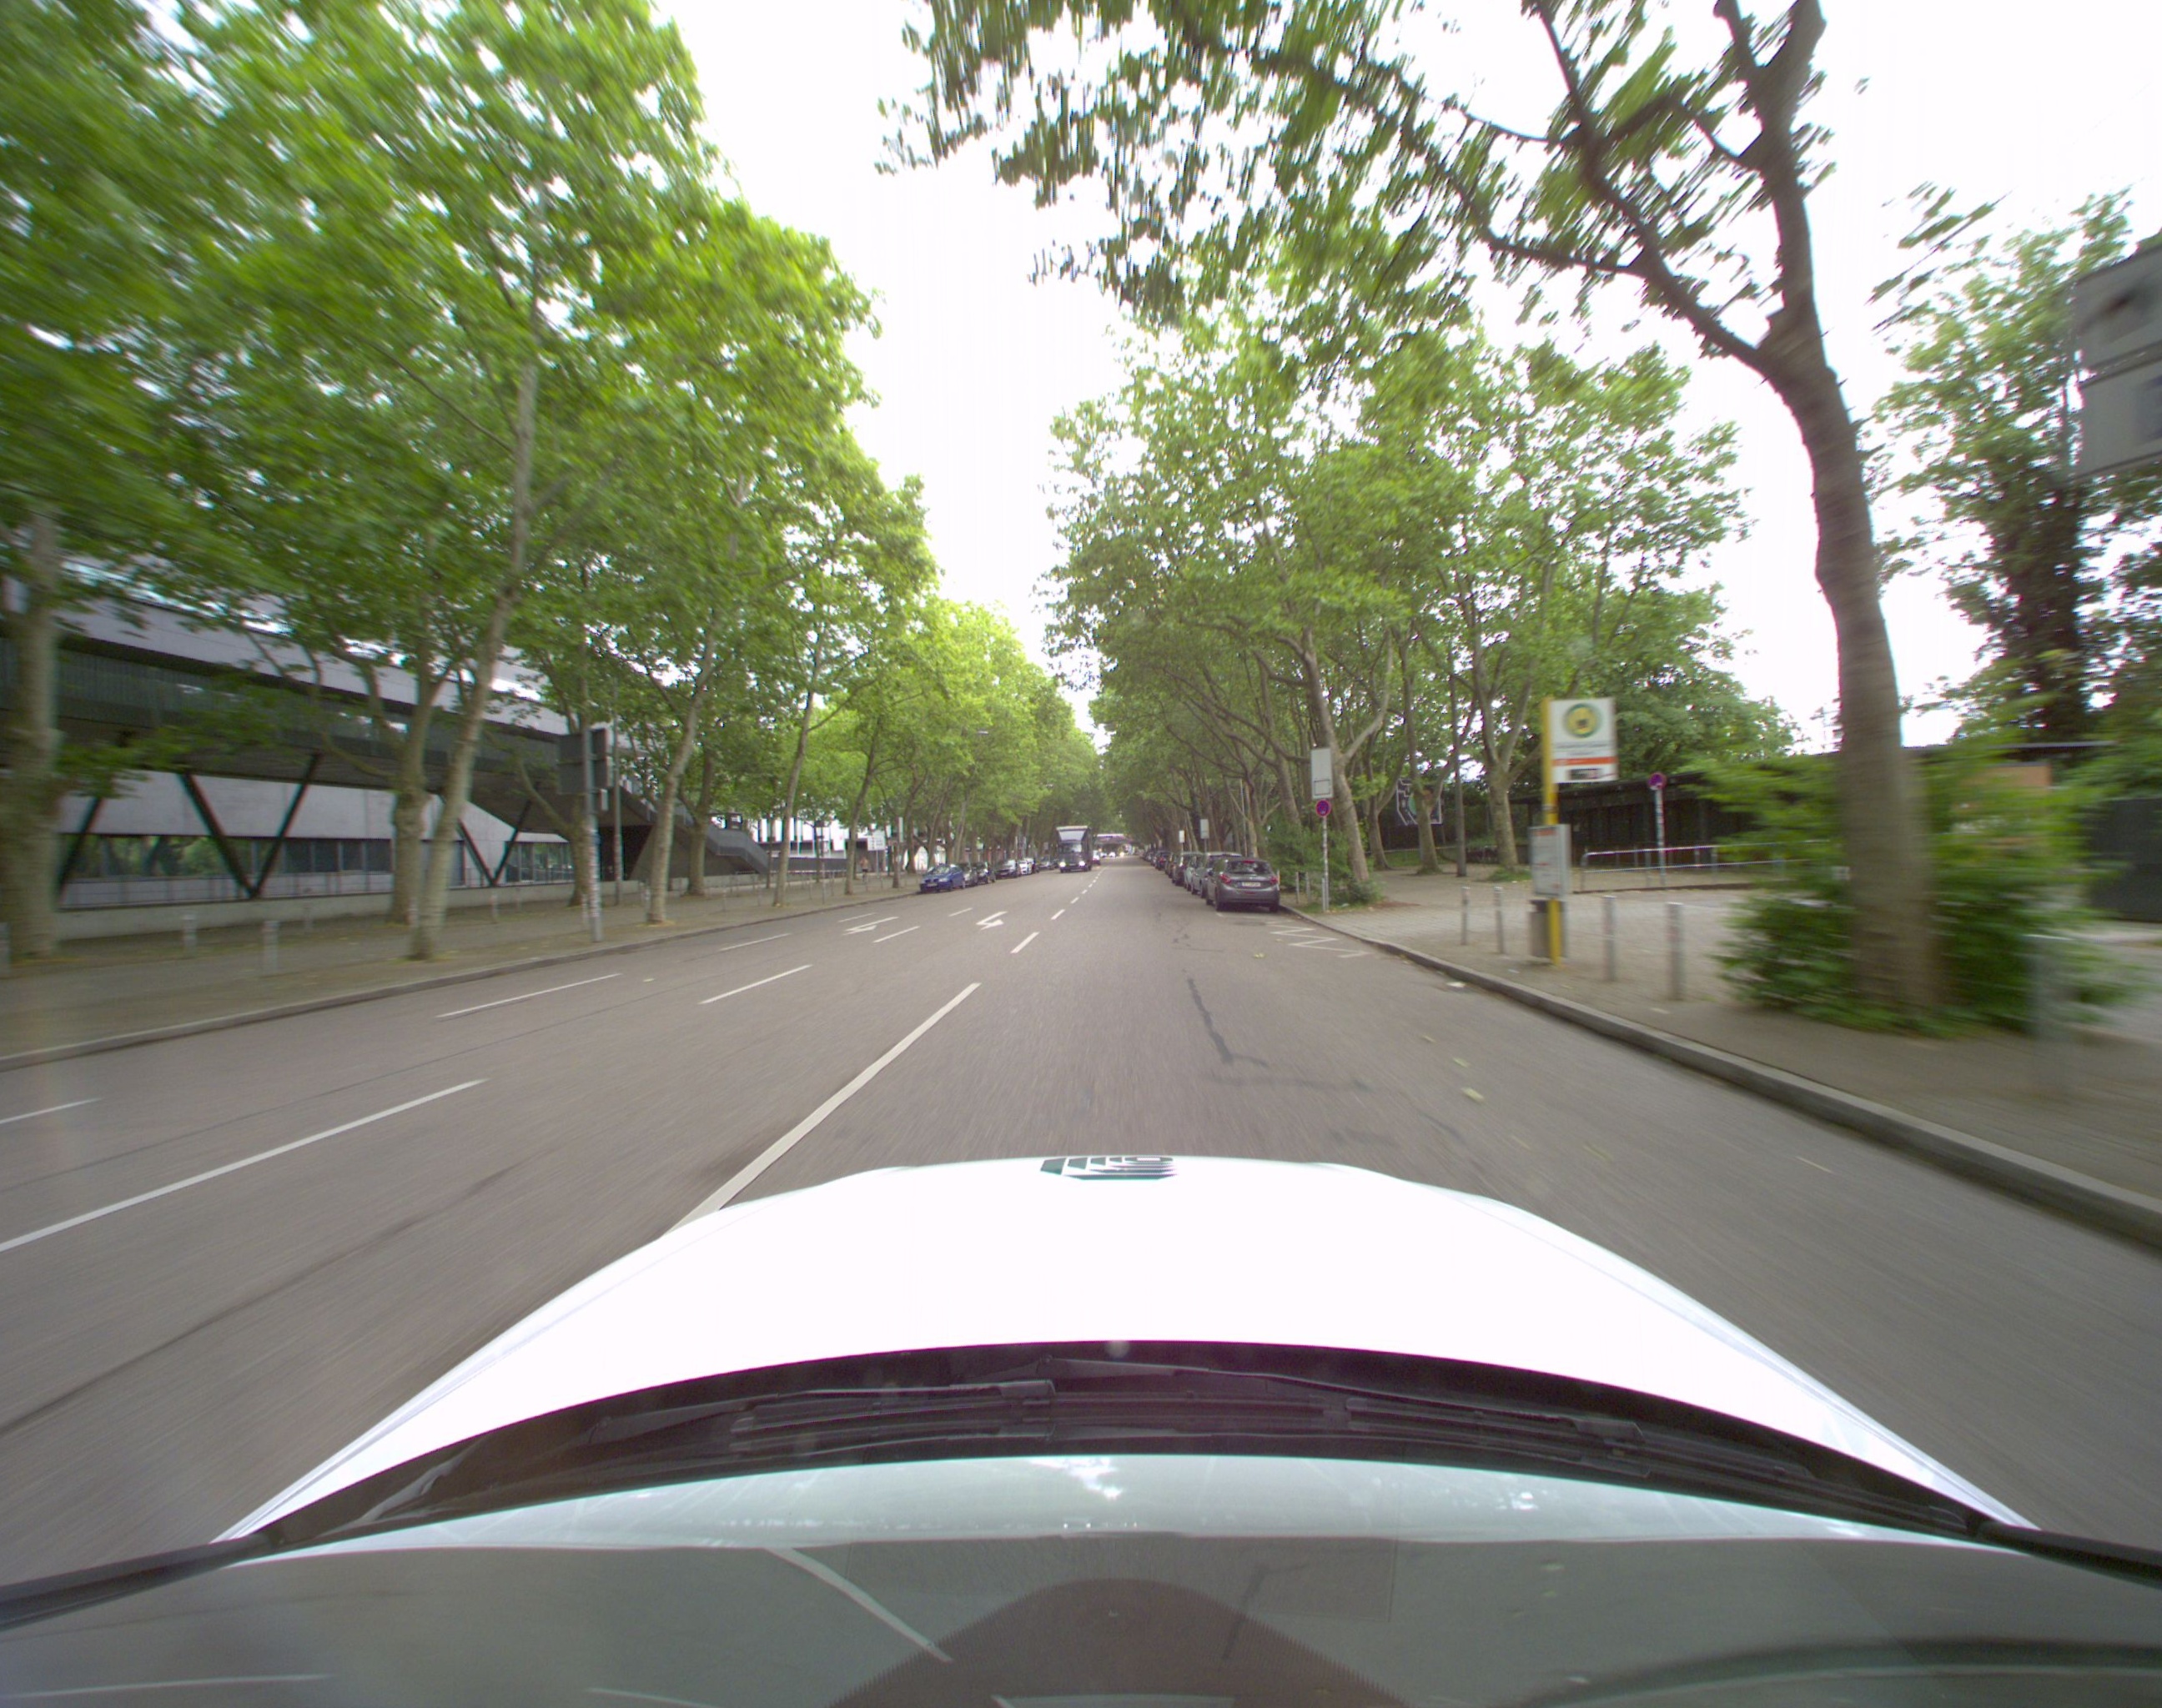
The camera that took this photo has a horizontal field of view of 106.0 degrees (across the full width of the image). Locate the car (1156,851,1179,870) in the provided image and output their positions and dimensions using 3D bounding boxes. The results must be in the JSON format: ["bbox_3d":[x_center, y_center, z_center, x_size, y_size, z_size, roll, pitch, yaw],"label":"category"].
[{"bbox_3d":[7.383,0.556,69.504,1.748,1.534,3.932,0,0,3],"label":"car"}]

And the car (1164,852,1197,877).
[{"bbox_3d":[6.161,0.644,50.802,1.748,1.534,3.932,0,0,3],"label":"car"}]

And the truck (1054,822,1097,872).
[{"bbox_3d":[-0.346,-0.558,71.602,2.628,3.901,9.555,-3,-1,6],"label":"truck"}]

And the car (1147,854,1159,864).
[{"bbox_3d":[11.059,0.774,125.439,1.749,1.534,3.932,-3,-1,3],"label":"car"}]

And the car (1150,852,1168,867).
[{"bbox_3d":[8.524,0.628,89.153,1.748,1.534,3.932,-2,0,3],"label":"car"}]

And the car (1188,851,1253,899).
[{"bbox_3d":[4.928,0.717,29.275,1.713,1.567,4.095,2,0,1],"label":"car"}]

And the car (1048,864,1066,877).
[{"bbox_3d":[-2.993,2.048,101.522,1.888,1.438,4.001,-3,-2,2],"label":"car"}]

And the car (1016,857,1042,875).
[{"bbox_3d":[-4.723,1.099,74.558,1.888,1.438,4.001,-3,-2,2],"label":"car"}]

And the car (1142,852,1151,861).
[{"bbox_3d":[12.291,0.466,152.912,1.748,1.534,3.932,0,0,3],"label":"car"}]

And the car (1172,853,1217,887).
[{"bbox_3d":[5.368,0.748,39.036,1.748,1.490,4.420,2,0,3],"label":"car"}]

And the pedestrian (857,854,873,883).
[{"bbox_3d":[-14.166,0.947,53.448,0.775,1.835,0.870,-2,0,-31],"label":"pedestrian"}]

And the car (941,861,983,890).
[{"bbox_3d":[-6.803,1.238,46.971,1.760,1.418,3.760,-5,-1,0],"label":"car"}]

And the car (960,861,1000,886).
[{"bbox_3d":[-6.381,1.221,51.709,1.758,1.418,3.764,-5,-1,3],"label":"car"}]

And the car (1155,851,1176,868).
[{"bbox_3d":[7.780,0.533,75.592,1.748,1.534,3.932,-1,0,3],"label":"car"}]

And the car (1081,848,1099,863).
[{"bbox_3d":[1.166,0.189,104.139,1.972,1.934,4.116,-2,0,3],"label":"car"}]

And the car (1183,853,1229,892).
[{"bbox_3d":[5.224,0.753,34.335,1.667,1.490,3.692,2,0,5],"label":"car"}]

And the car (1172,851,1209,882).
[{"bbox_3d":[5.957,0.659,44.686,1.748,1.597,3.932,0,0,3],"label":"car"}]

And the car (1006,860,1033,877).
[{"bbox_3d":[-5.141,1.247,68.851,1.725,1.332,4.002,-3,-2,3],"label":"car"}]

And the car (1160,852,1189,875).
[{"bbox_3d":[6.574,0.638,57.533,1.748,1.534,3.932,0,0,3],"label":"car"}]

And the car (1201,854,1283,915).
[{"bbox_3d":[4.527,0.804,23.525,1.692,1.519,4.457,2,0,3],"label":"car"}]

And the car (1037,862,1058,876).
[{"bbox_3d":[-3.608,1.677,88.880,1.888,1.438,4.001,-3,-2,2],"label":"car"}]

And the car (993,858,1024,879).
[{"bbox_3d":[-5.450,1.108,61.609,1.758,1.418,3.764,-5,-1,3],"label":"car"}]

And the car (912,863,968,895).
[{"bbox_3d":[-7.236,1.264,42.092,1.686,1.418,3.769,-5,-1,7],"label":"car"}]
